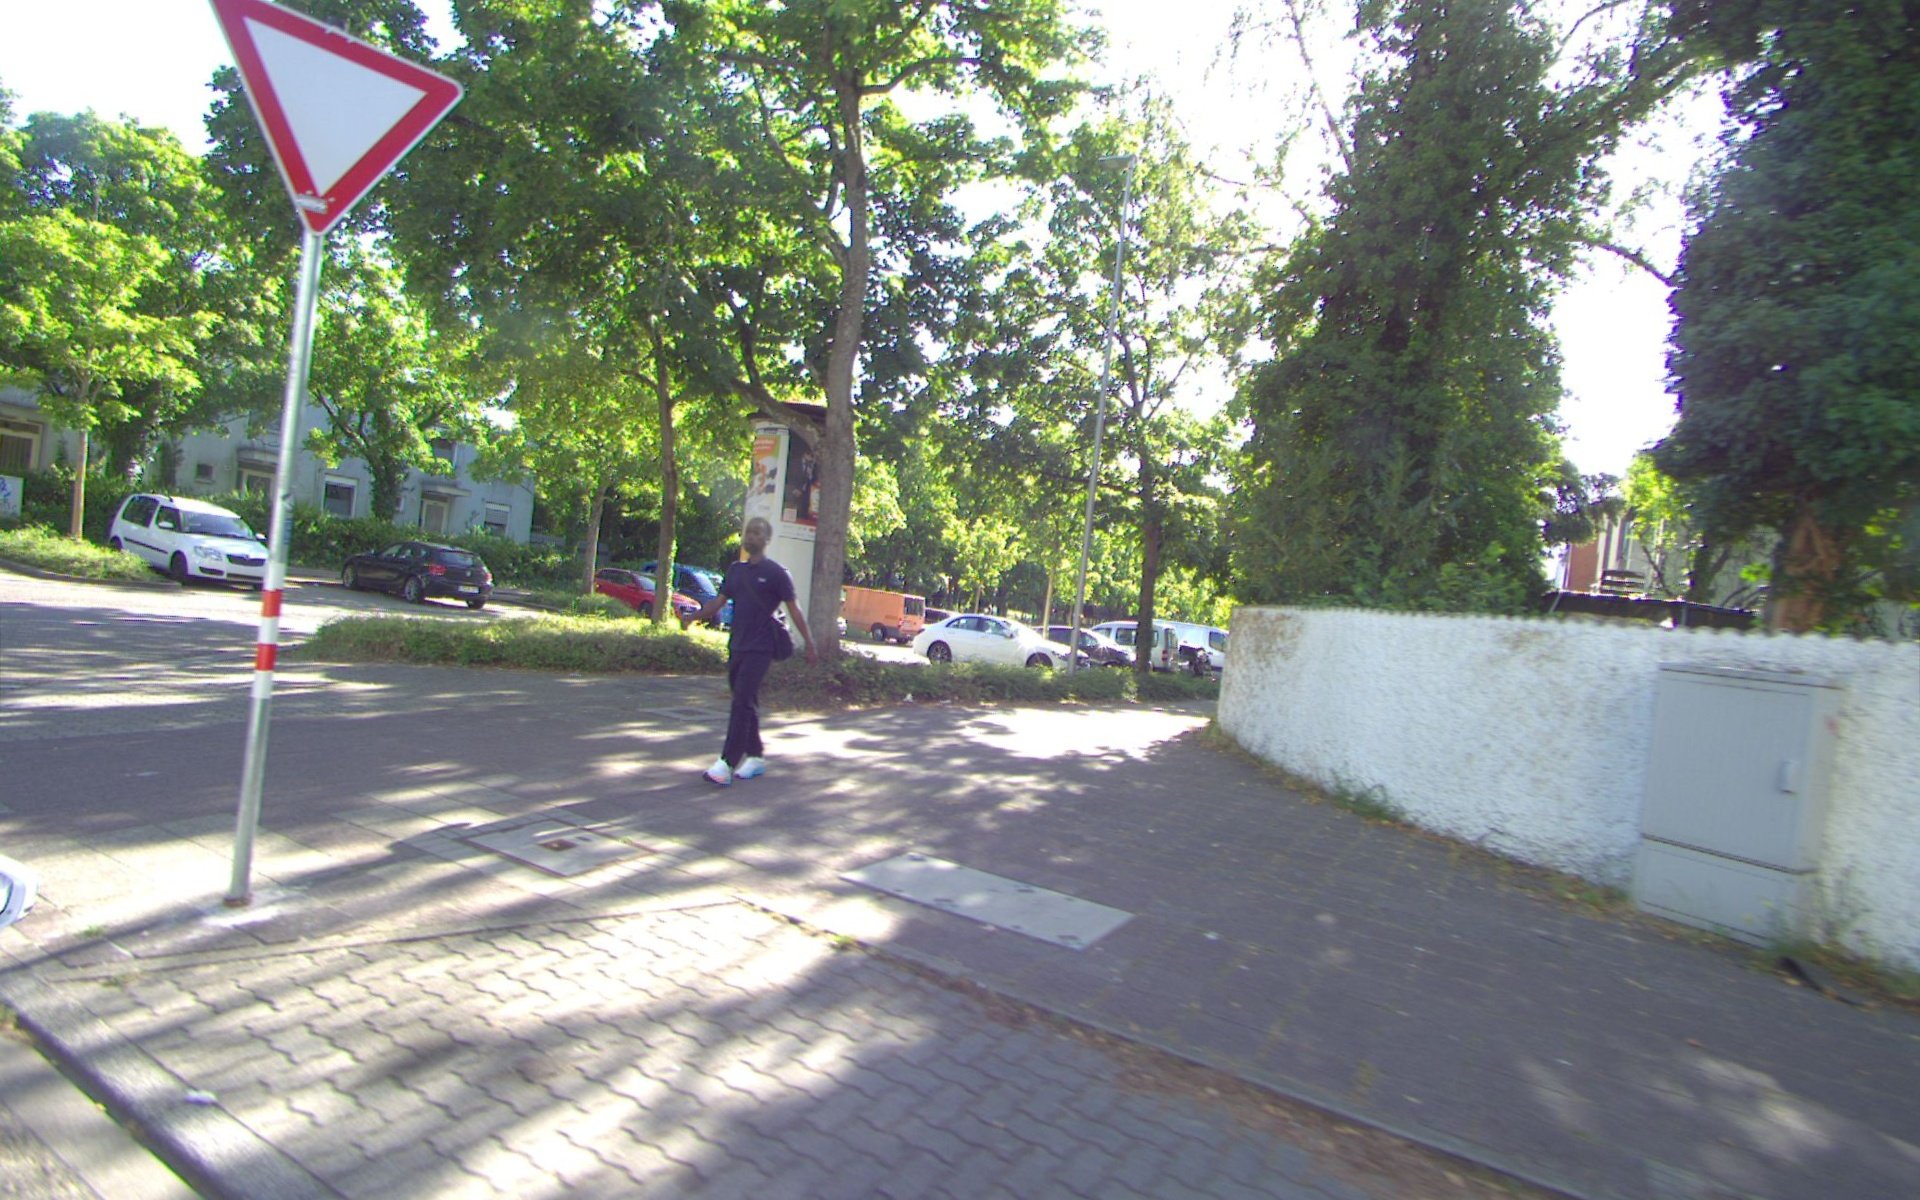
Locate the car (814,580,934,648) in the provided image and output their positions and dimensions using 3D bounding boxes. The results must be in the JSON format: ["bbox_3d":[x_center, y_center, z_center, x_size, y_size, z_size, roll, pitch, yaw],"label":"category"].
[{"bbox_3d":[-3.455,0.564,40.279,4.187,2.057,1.971,9,1,29],"label":"car"}]

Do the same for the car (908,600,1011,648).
[{"bbox_3d":[-0.037,1.115,46.810,4.187,1.591,1.971,9,1,29],"label":"car"}]

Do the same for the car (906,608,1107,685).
[{"bbox_3d":[1.111,1.132,24.992,4.611,1.423,1.825,5,-1,32],"label":"car"}]

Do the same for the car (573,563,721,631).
[{"bbox_3d":[-9.441,-0.092,30.328,4.096,1.423,1.826,9,1,29],"label":"car"}]

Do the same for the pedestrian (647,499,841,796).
[{"bbox_3d":[-1.376,0.294,6.547,0.823,1.705,0.807,8,1,6],"label":"pedestrian"}]

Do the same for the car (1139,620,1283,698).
[{"bbox_3d":[10.110,2.384,40.669,5.048,2.407,1.998,7,-1,30],"label":"car"}]

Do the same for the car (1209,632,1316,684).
[{"bbox_3d":[14.775,2.829,49.132,4.488,1.852,1.998,7,-1,30],"label":"car"}]

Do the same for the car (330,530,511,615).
[{"bbox_3d":[-13.056,-0.681,24.315,4.096,1.423,1.826,9,1,29],"label":"car"}]

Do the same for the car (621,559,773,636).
[{"bbox_3d":[-8.501,-0.088,32.457,4.584,1.794,1.826,9,1,29],"label":"car"}]

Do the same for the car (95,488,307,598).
[{"bbox_3d":[-15.441,-1.171,20.438,4.096,1.618,1.826,8,1,29],"label":"car"}]

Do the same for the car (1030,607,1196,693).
[{"bbox_3d":[4.797,1.577,31.687,4.557,2.015,1.998,7,-1,30],"label":"car"}]
